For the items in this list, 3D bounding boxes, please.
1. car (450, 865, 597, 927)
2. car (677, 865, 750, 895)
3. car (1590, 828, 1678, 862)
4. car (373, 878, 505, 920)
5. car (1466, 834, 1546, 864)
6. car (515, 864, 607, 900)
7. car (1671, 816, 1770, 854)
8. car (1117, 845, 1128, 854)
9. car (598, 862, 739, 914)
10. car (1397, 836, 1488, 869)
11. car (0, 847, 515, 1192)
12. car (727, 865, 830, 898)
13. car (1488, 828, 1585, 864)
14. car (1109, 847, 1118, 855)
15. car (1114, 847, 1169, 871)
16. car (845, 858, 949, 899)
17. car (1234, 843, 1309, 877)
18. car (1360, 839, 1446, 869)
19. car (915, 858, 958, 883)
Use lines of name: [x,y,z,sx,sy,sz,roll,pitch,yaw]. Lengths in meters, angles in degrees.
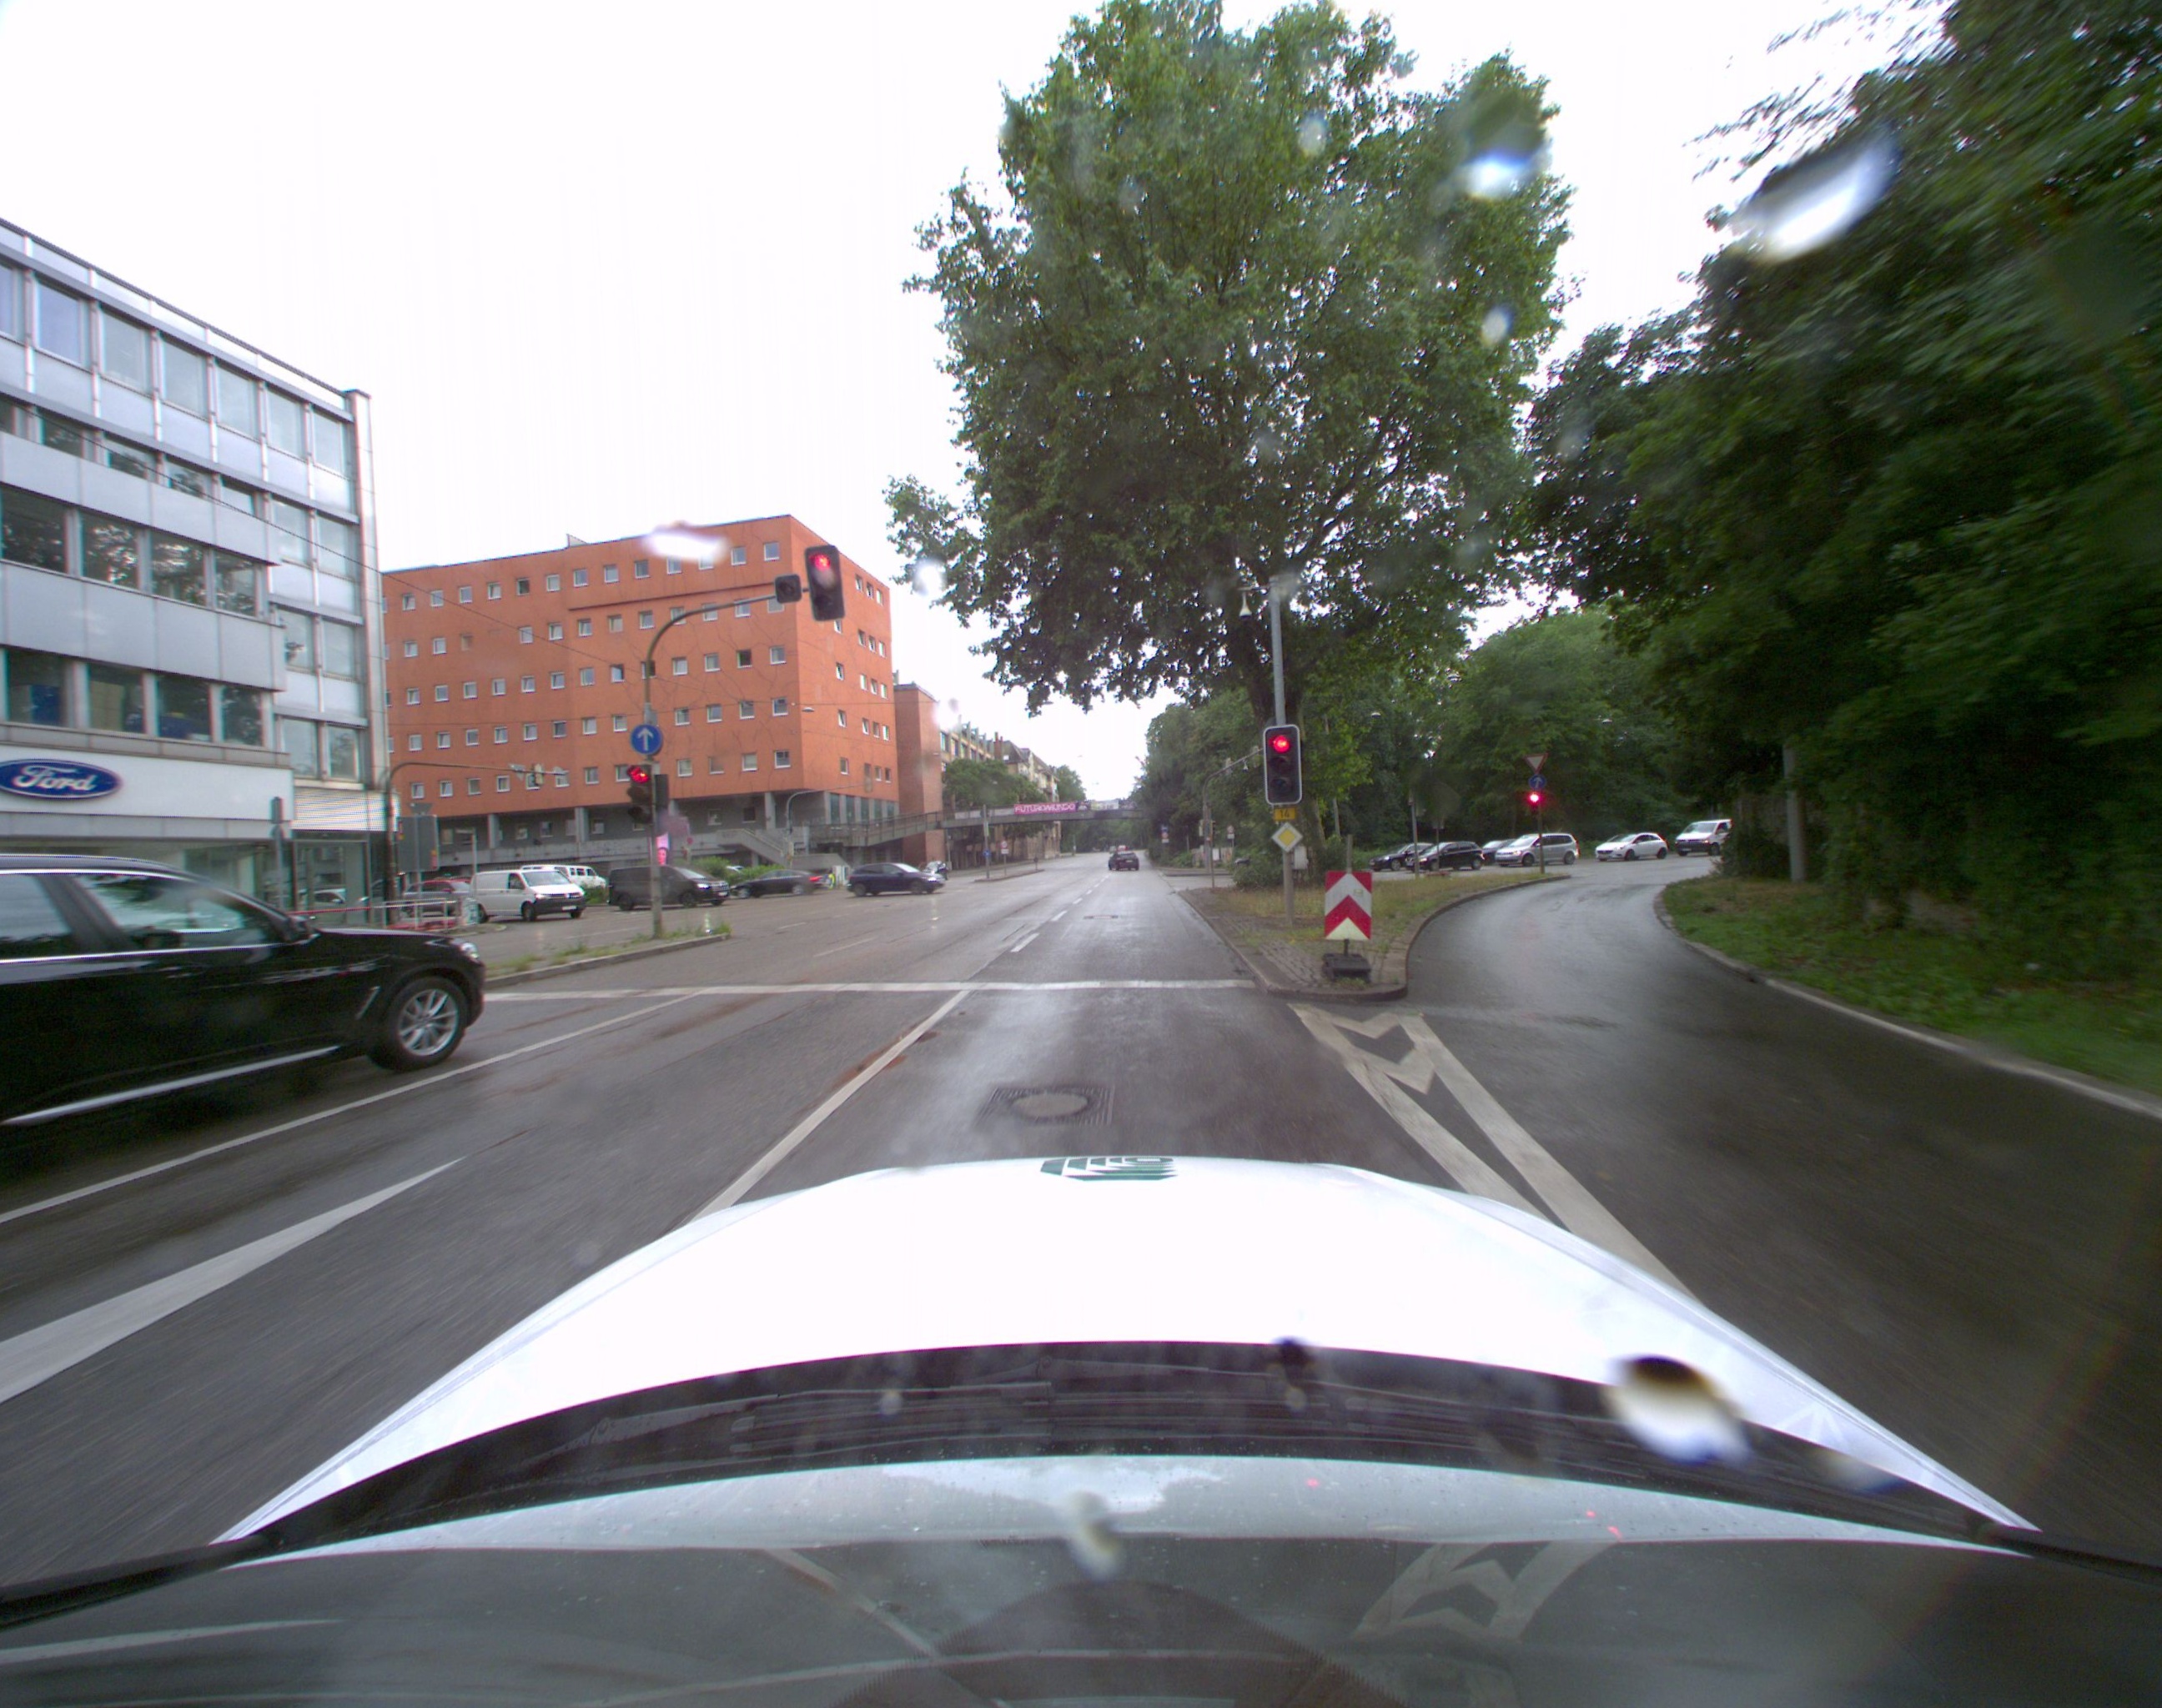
car: [-21.225,1.605,31.003,5.149,1.932,2.011,-5,-1,23]
car: [-24.634,1.726,54.571,3.988,1.618,1.900,-4,0,12]
car: [29.764,-0.501,43.887,3.998,1.486,1.764,-4,0,-18]
car: [-29.124,2.029,37.038,4.492,1.637,1.882,-2,0,2]
car: [23.552,-0.285,45.174,3.833,1.486,1.735,-2,0,-18]
car: [-31.798,1.659,49.997,1.981,2.013,4.865,1,0,10]
car: [35.696,-1.068,45.472,4.857,1.922,1.897,-2,0,-18]
car: [8.489,-0.892,166.802,2.114,1.734,4.198,-1,1,0]
car: [-17.370,1.431,34.396,5.043,1.846,2.006,-4,-1,11]
car: [17.736,-0.065,40.000,3.857,1.485,1.665,-2,-1,-13]
car: [-6.012,0.794,4.713,1.939,1.597,4.675,-1,1,4]
car: [-15.526,1.398,41.990,4.596,1.451,1.771,-3,-1,-5]
car: [23.433,-0.400,41.909,4.266,1.486,1.765,-4,0,-14]
car: [7.425,-0.642,184.887,1.756,1.697,3.708,-4,0,3]
car: [4.422,0.368,60.536,1.886,1.637,4.482,-2,0,-29]
car: [-8.126,1.085,36.123,4.107,1.446,1.591,-4,0,12]
car: [12.208,0.389,52.134,4.302,1.836,2.147,-5,0,20]
car: [17.311,-0.002,43.868,3.997,1.486,1.868,-2,-1,-18]
car: [-9.899,1.118,56.012,1.985,1.519,4.003,-3,0,3]
